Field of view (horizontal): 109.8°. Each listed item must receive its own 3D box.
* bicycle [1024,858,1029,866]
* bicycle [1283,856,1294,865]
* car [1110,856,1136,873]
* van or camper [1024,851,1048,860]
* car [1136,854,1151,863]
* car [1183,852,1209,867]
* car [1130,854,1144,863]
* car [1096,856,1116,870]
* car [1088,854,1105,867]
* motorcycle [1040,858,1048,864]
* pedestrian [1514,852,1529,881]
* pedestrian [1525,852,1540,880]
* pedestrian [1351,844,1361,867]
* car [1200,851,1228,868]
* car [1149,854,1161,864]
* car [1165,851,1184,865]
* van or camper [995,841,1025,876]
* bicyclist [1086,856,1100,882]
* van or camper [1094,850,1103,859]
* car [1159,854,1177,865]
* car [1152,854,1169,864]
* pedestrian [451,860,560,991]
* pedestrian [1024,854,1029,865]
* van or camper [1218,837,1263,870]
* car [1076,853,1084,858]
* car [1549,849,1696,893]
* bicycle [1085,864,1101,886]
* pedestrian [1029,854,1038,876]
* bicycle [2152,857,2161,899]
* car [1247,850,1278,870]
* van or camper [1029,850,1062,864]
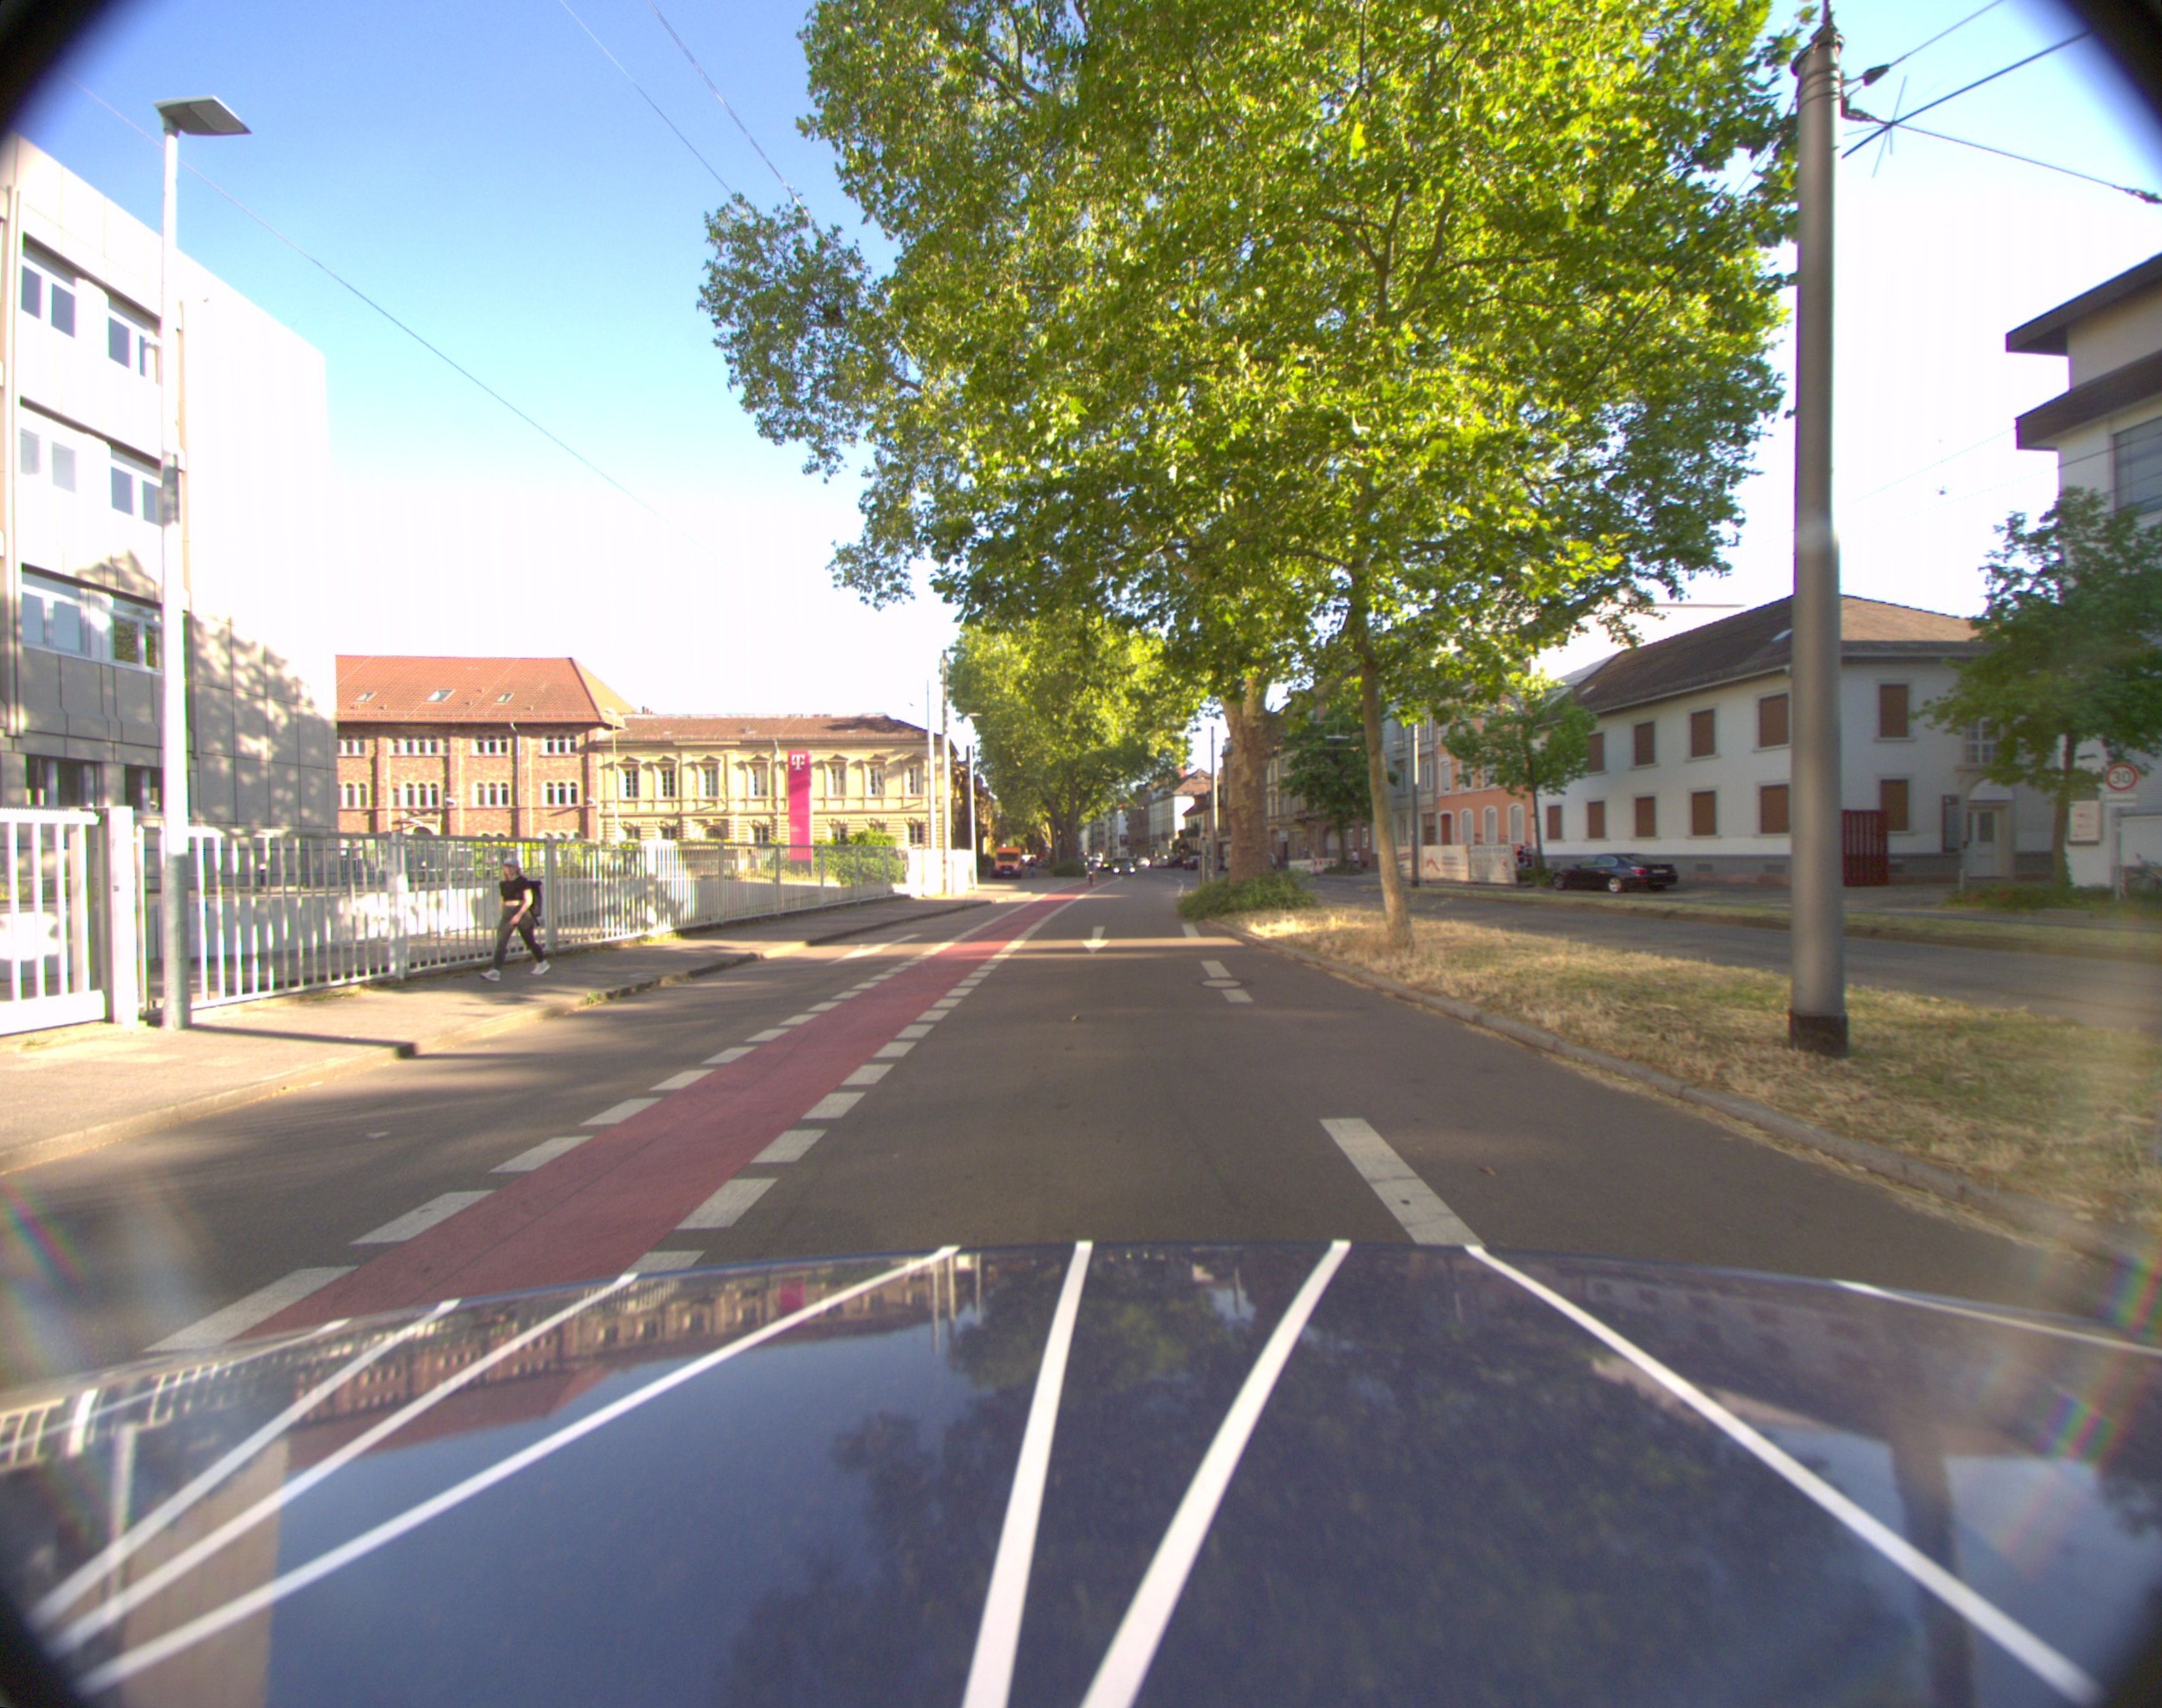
[{"bbox_3d":[-8.134,1.198,113.486,0.676,1.026,1.900,1,0,-3],"label":"bicycle"},{"bbox_3d":[20.228,0.628,74.054,0.580,0.919,1.791,-1,0,-2],"label":"bicycle"},{"bbox_3d":[3.819,0.951,69.390,1.740,1.365,3.917,-3,0,-5],"label":"car"},{"bbox_3d":[-11.823,0.396,199.716,6.101,2.417,2.427,-1,0,-4],"label":"van or camper"},{"bbox_3d":[10.733,0.823,130.691,1.869,1.423,4.081,-3,0,-5],"label":"car"},{"bbox_3d":[14.068,0.634,93.153,1.999,1.693,4.748,-4,0,-6],"label":"car"},{"bbox_3d":[10.044,0.787,135.792,1.799,1.587,4.081,-3,0,-5],"label":"car"},{"bbox_3d":[2.748,0.970,84.521,1.740,1.365,3.917,-3,0,-5],"label":"car"},{"bbox_3d":[1.940,0.806,95.678,1.726,1.523,3.592,-1,0,-6],"label":"car"},{"bbox_3d":[-5.741,1.107,119.492,1.274,1.048,0.394,-1,1,-41],"label":"motorcycle"},{"bbox_3d":[21.960,0.629,37.910,0.458,1.409,0.472,-1,1,-10],"label":"pedestrian"},{"bbox_3d":[22.693,0.615,38.204,0.458,1.409,0.472,-1,1,-12],"label":"pedestrian"},{"bbox_3d":[21.527,0.107,59.508,0.599,1.807,0.481,-1,1,-4],"label":"pedestrian"},{"bbox_3d":[14.986,0.632,85.899,1.816,1.695,4.441,-4,0,-6],"label":"car"},{"bbox_3d":[11.670,0.715,120.483,1.422,1.502,3.325,-3,0,-2],"label":"car"},{"bbox_3d":[12.890,0.568,105.042,1.729,1.736,3.624,-4,0,-4],"label":"car"},{"bbox_3d":[-5.431,0.347,58.923,2.041,2.544,5.771,-1,0,-3],"label":"van or camper"},{"bbox_3d":[0.663,0.843,42.361,0.715,1.435,0.953,-1,0,-4],"label":"bicyclist"},{"bbox_3d":[4.533,0.099,197.450,1.945,2.267,4.596,-3,0,-5],"label":"van or camper"},{"bbox_3d":[12.487,0.769,109.682,1.668,1.446,4.402,-4,0,-5],"label":"car"},{"bbox_3d":[11.985,0.766,115.083,1.587,1.482,4.468,-3,0,-5],"label":"car"},{"bbox_3d":[-7.700,0.921,10.211,0.697,1.674,0.930,-1,1,2],"label":"pedestrian"},{"bbox_3d":[-8.128,0.831,113.301,0.671,1.610,1.102,1,1,-3],"label":"pedestrian"},{"bbox_3d":[15.873,-0.041,76.151,2.426,2.930,7.248,-4,0,-3],"label":"van or camper"},{"bbox_3d":[-0.339,0.414,248.789,1.809,1.534,3.916,-3,0,-7],"label":"car"},{"bbox_3d":[20.555,0.594,29.143,1.999,1.505,4.722,-1,0,-5],"label":"car"},{"bbox_3d":[0.673,1.171,42.374,0.715,1.131,2.119,-1,0,-4],"label":"bicycle"},{"bbox_3d":[-3.726,0.836,60.181,0.652,1.726,1.007,-1,1,-2],"label":"pedestrian"},{"bbox_3d":[26.088,0.569,17.872,0.304,0.996,1.018,-1,0,-6],"label":"bicycle"},{"bbox_3d":[16.640,0.568,69.806,1.635,1.696,3.369,-4,1,-7],"label":"car"},{"bbox_3d":[-6.567,0.507,139.800,5.931,2.484,2.219,-1,3,-7],"label":"van or camper"}]
